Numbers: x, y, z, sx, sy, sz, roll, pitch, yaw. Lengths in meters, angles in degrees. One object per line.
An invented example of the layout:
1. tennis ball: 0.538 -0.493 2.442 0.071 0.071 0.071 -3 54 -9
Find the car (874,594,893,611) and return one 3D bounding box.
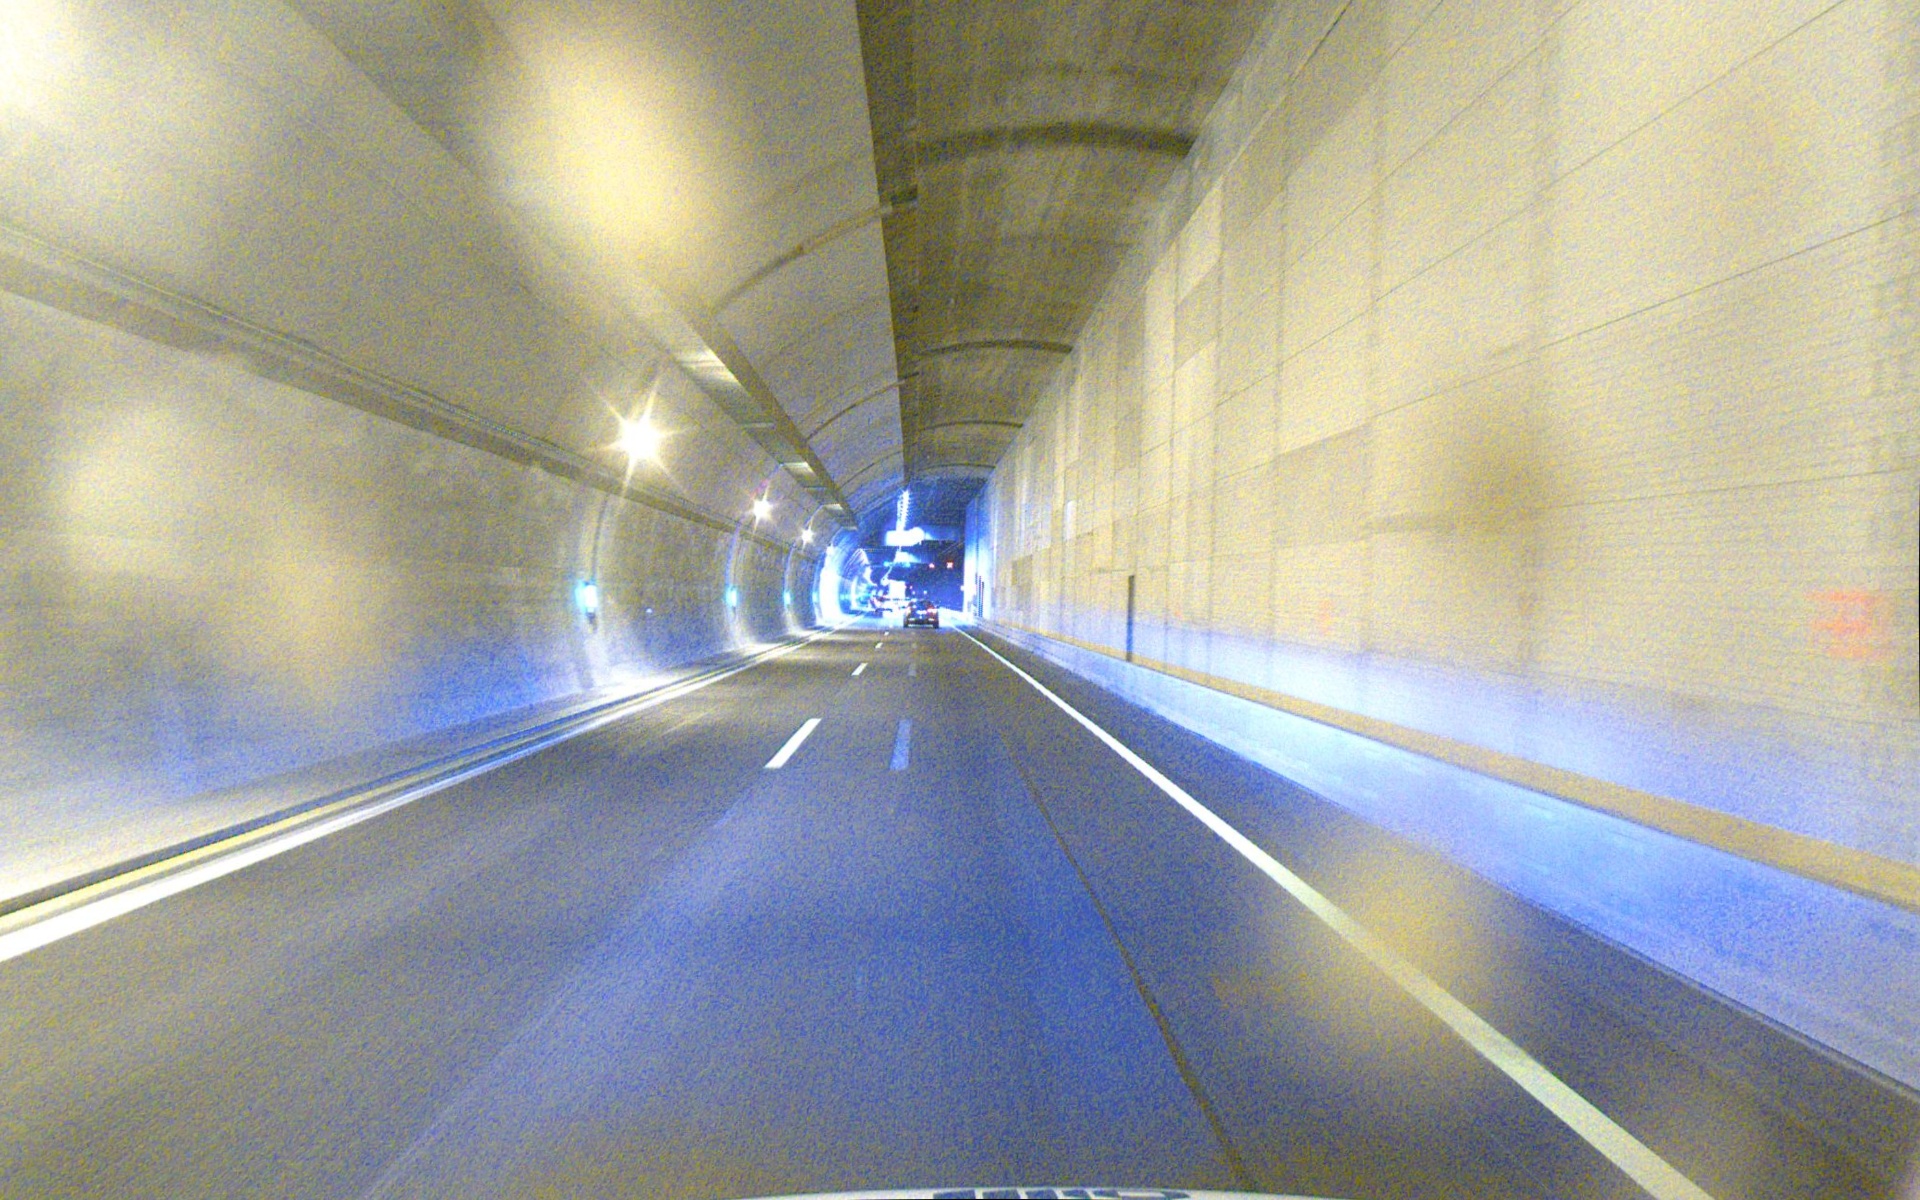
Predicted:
1. car: -7.653 0.223 166.297 1.891 1.716 3.998 0 0 -2

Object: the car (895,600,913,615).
1. car: -6.618 0.848 195.448 1.890 1.716 4.001 0 0 1

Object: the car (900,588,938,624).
1. car: -2.120 0.296 85.449 1.907 1.826 3.999 0 0 -1
